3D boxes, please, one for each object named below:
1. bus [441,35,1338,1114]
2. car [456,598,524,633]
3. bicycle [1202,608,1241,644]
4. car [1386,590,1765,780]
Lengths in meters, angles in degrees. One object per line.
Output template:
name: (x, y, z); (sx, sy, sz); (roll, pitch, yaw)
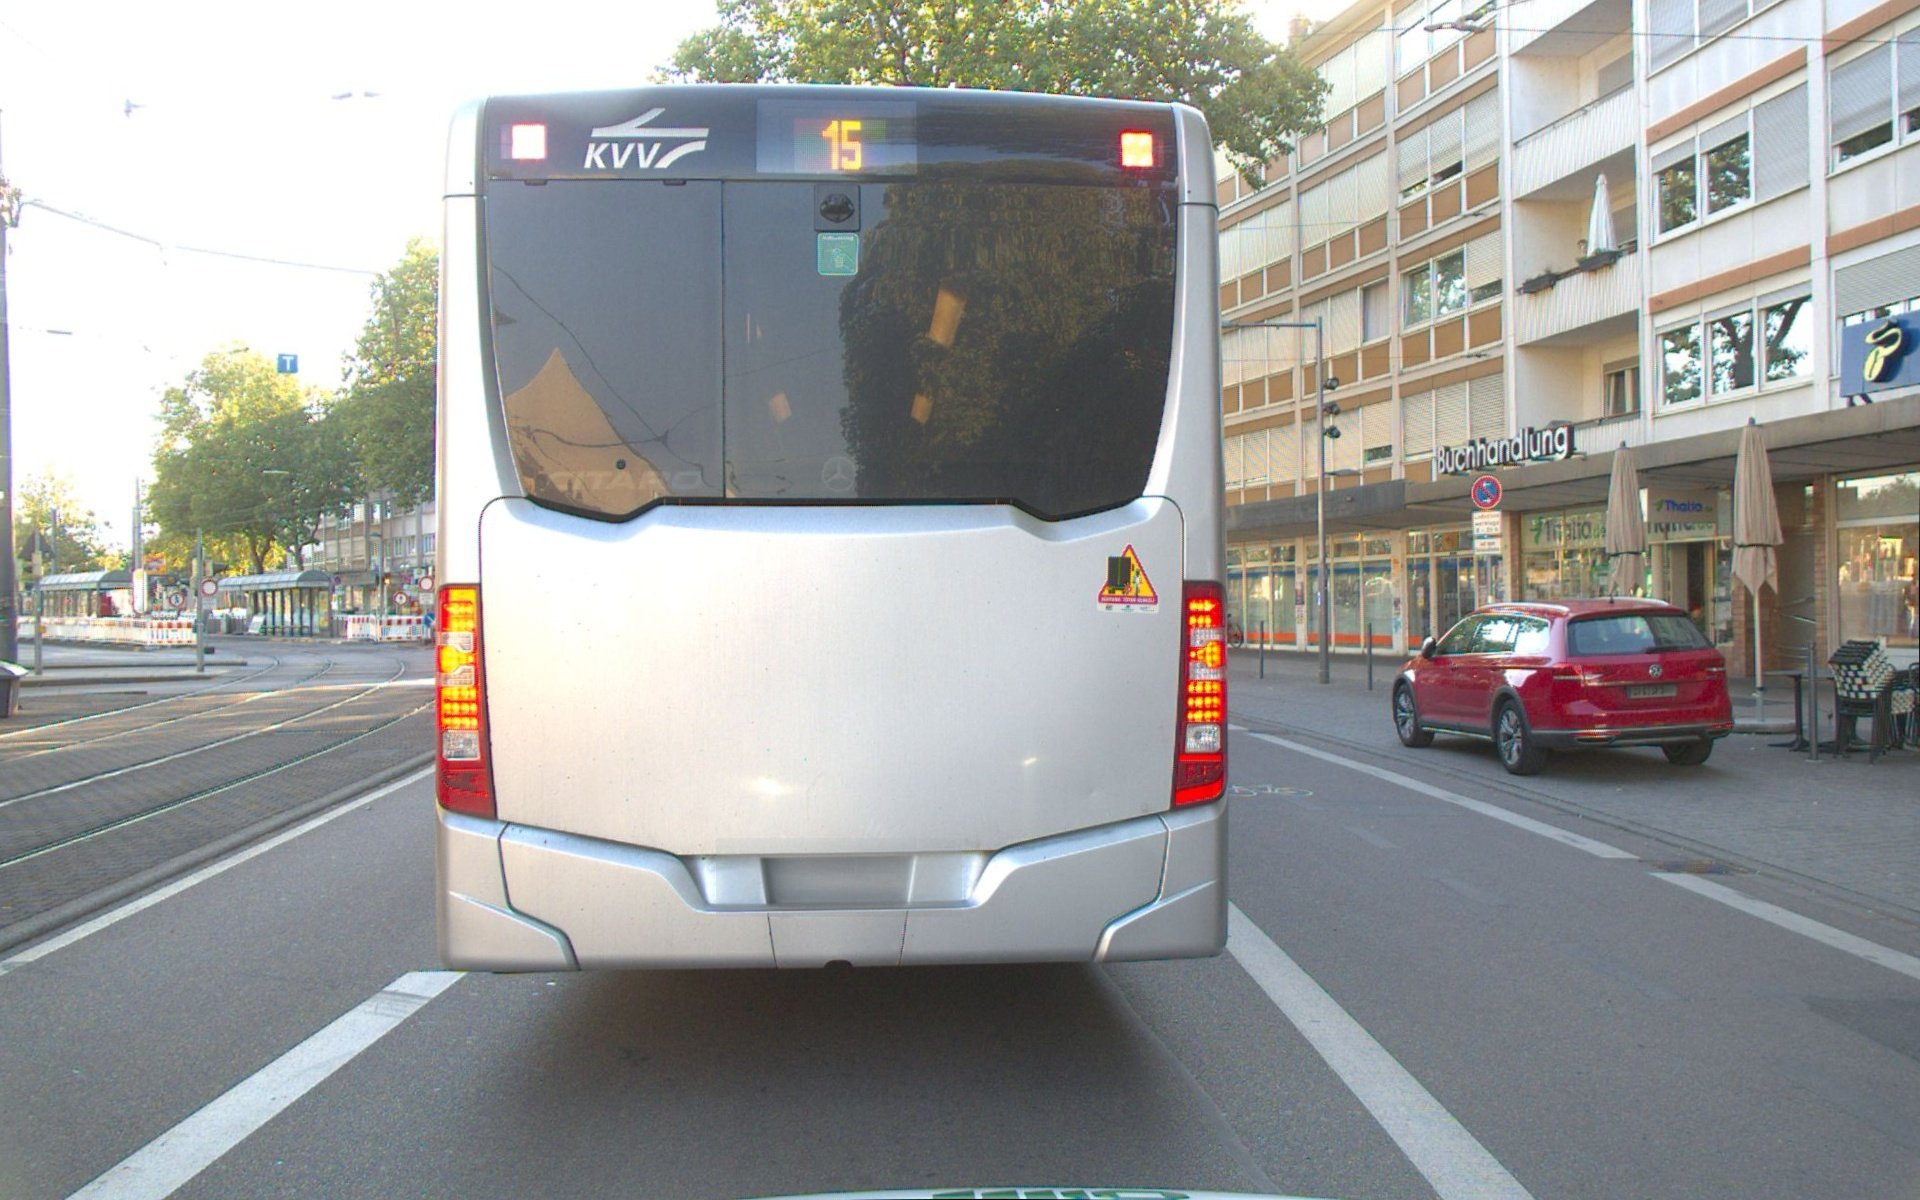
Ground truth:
bus: (-0.400, -0.059, 9.784); (2.578, 3.081, 9.992); (0, 0, -3)
car: (-24.909, 0.812, 87.509); (1.982, 1.823, 3.940); (1, -1, -41)
bicycle: (7.213, 0.715, 45.702); (0.406, 0.961, 1.431); (-1, 0, -20)
car: (5.698, 0.706, 15.943); (1.735, 1.508, 4.299); (-2, 0, -4)
